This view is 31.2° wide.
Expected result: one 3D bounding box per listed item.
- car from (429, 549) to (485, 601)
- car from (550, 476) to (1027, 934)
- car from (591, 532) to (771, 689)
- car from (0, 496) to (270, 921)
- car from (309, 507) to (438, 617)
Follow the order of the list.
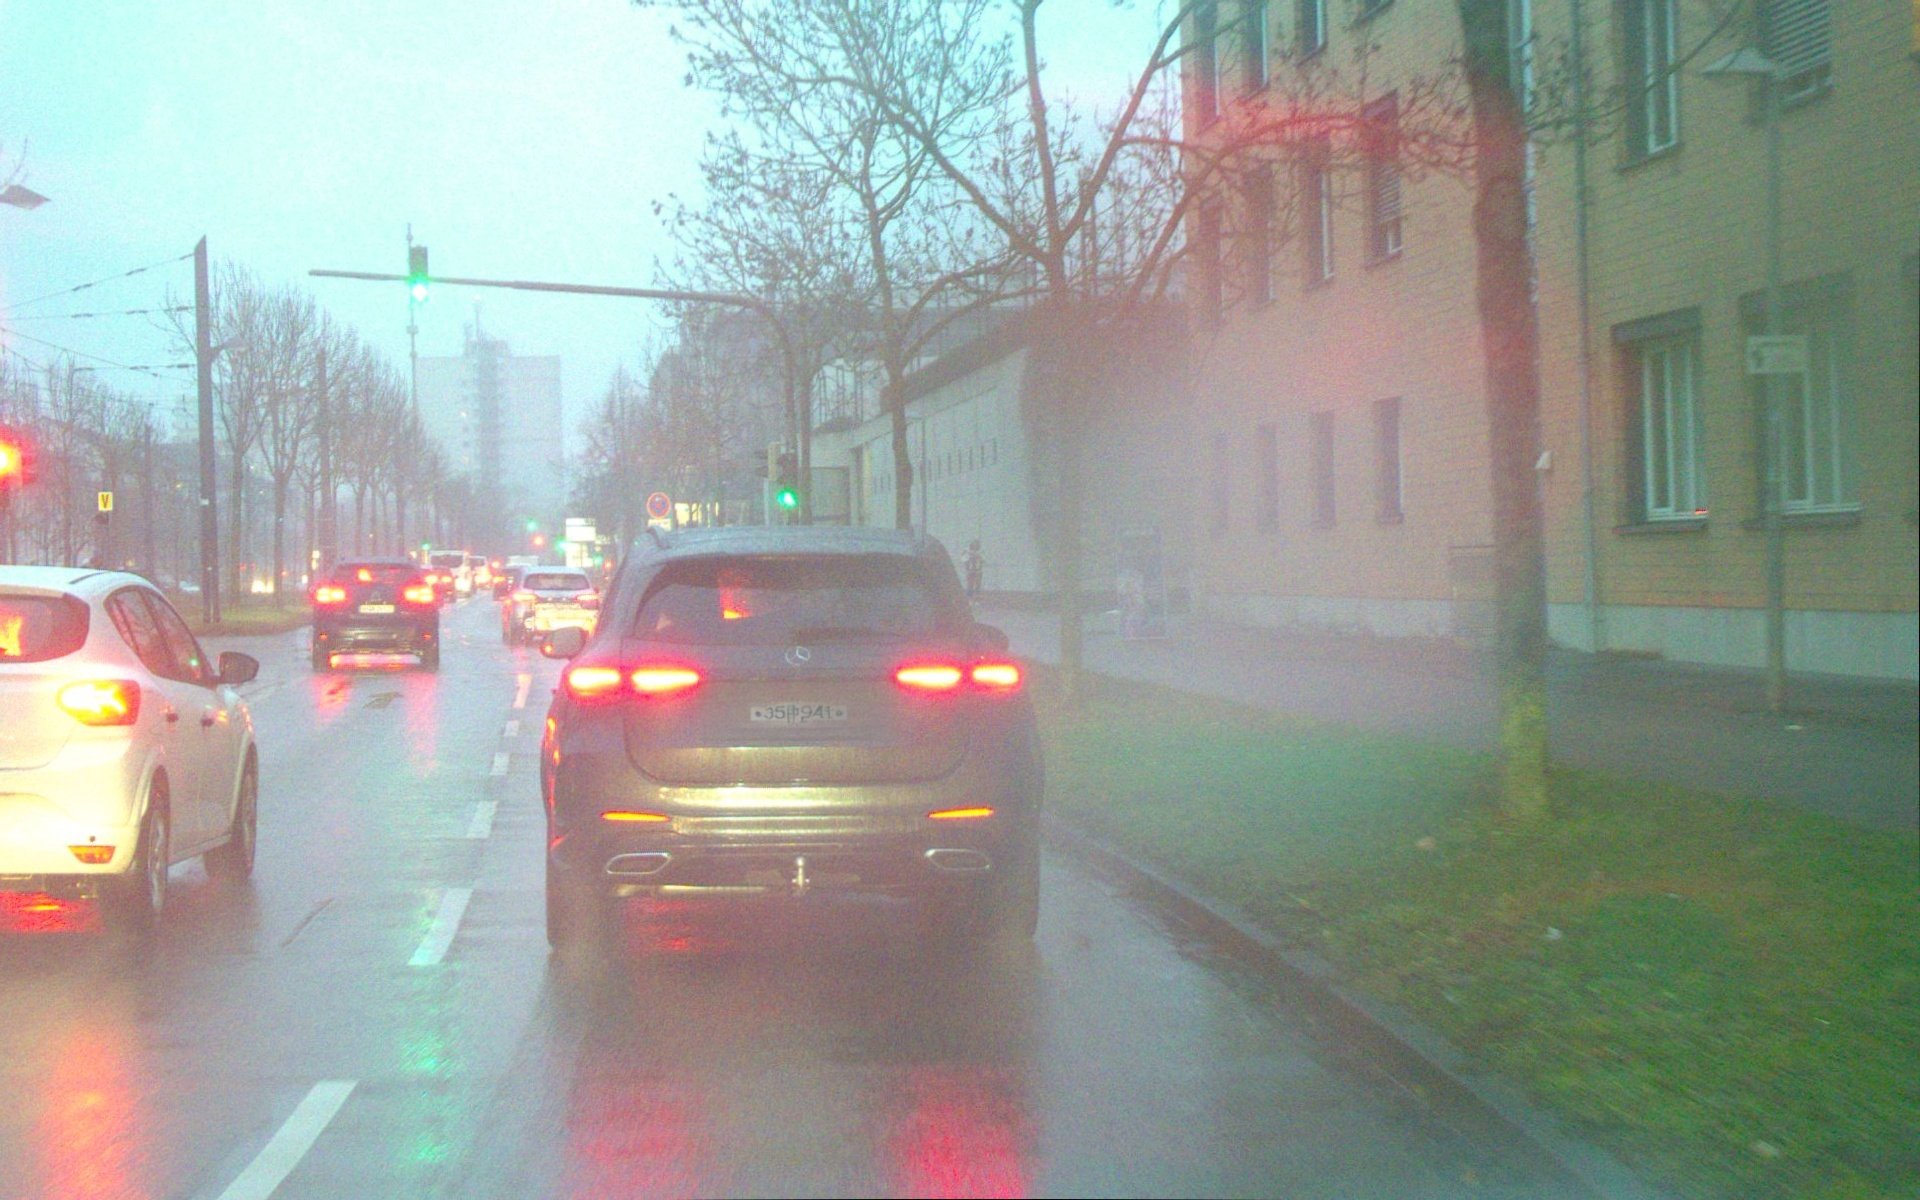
[{"bbox_3d":[-20.207,-1.007,138.303,1.993,2.007,4.001,-1,1,-5],"label":"car"},{"bbox_3d":[-0.816,0.348,14.056,1.671,1.594,4.054,0,0,-6],"label":"car"},{"bbox_3d":[-3.370,0.095,40.888,1.993,1.738,4.001,-1,1,-6],"label":"car"},{"bbox_3d":[-4.017,0.390,14.871,1.671,1.594,4.054,0,0,-6],"label":"car"},{"bbox_3d":[-8.789,-0.563,51.732,1.671,1.594,4.054,0,0,-6],"label":"car"}]
